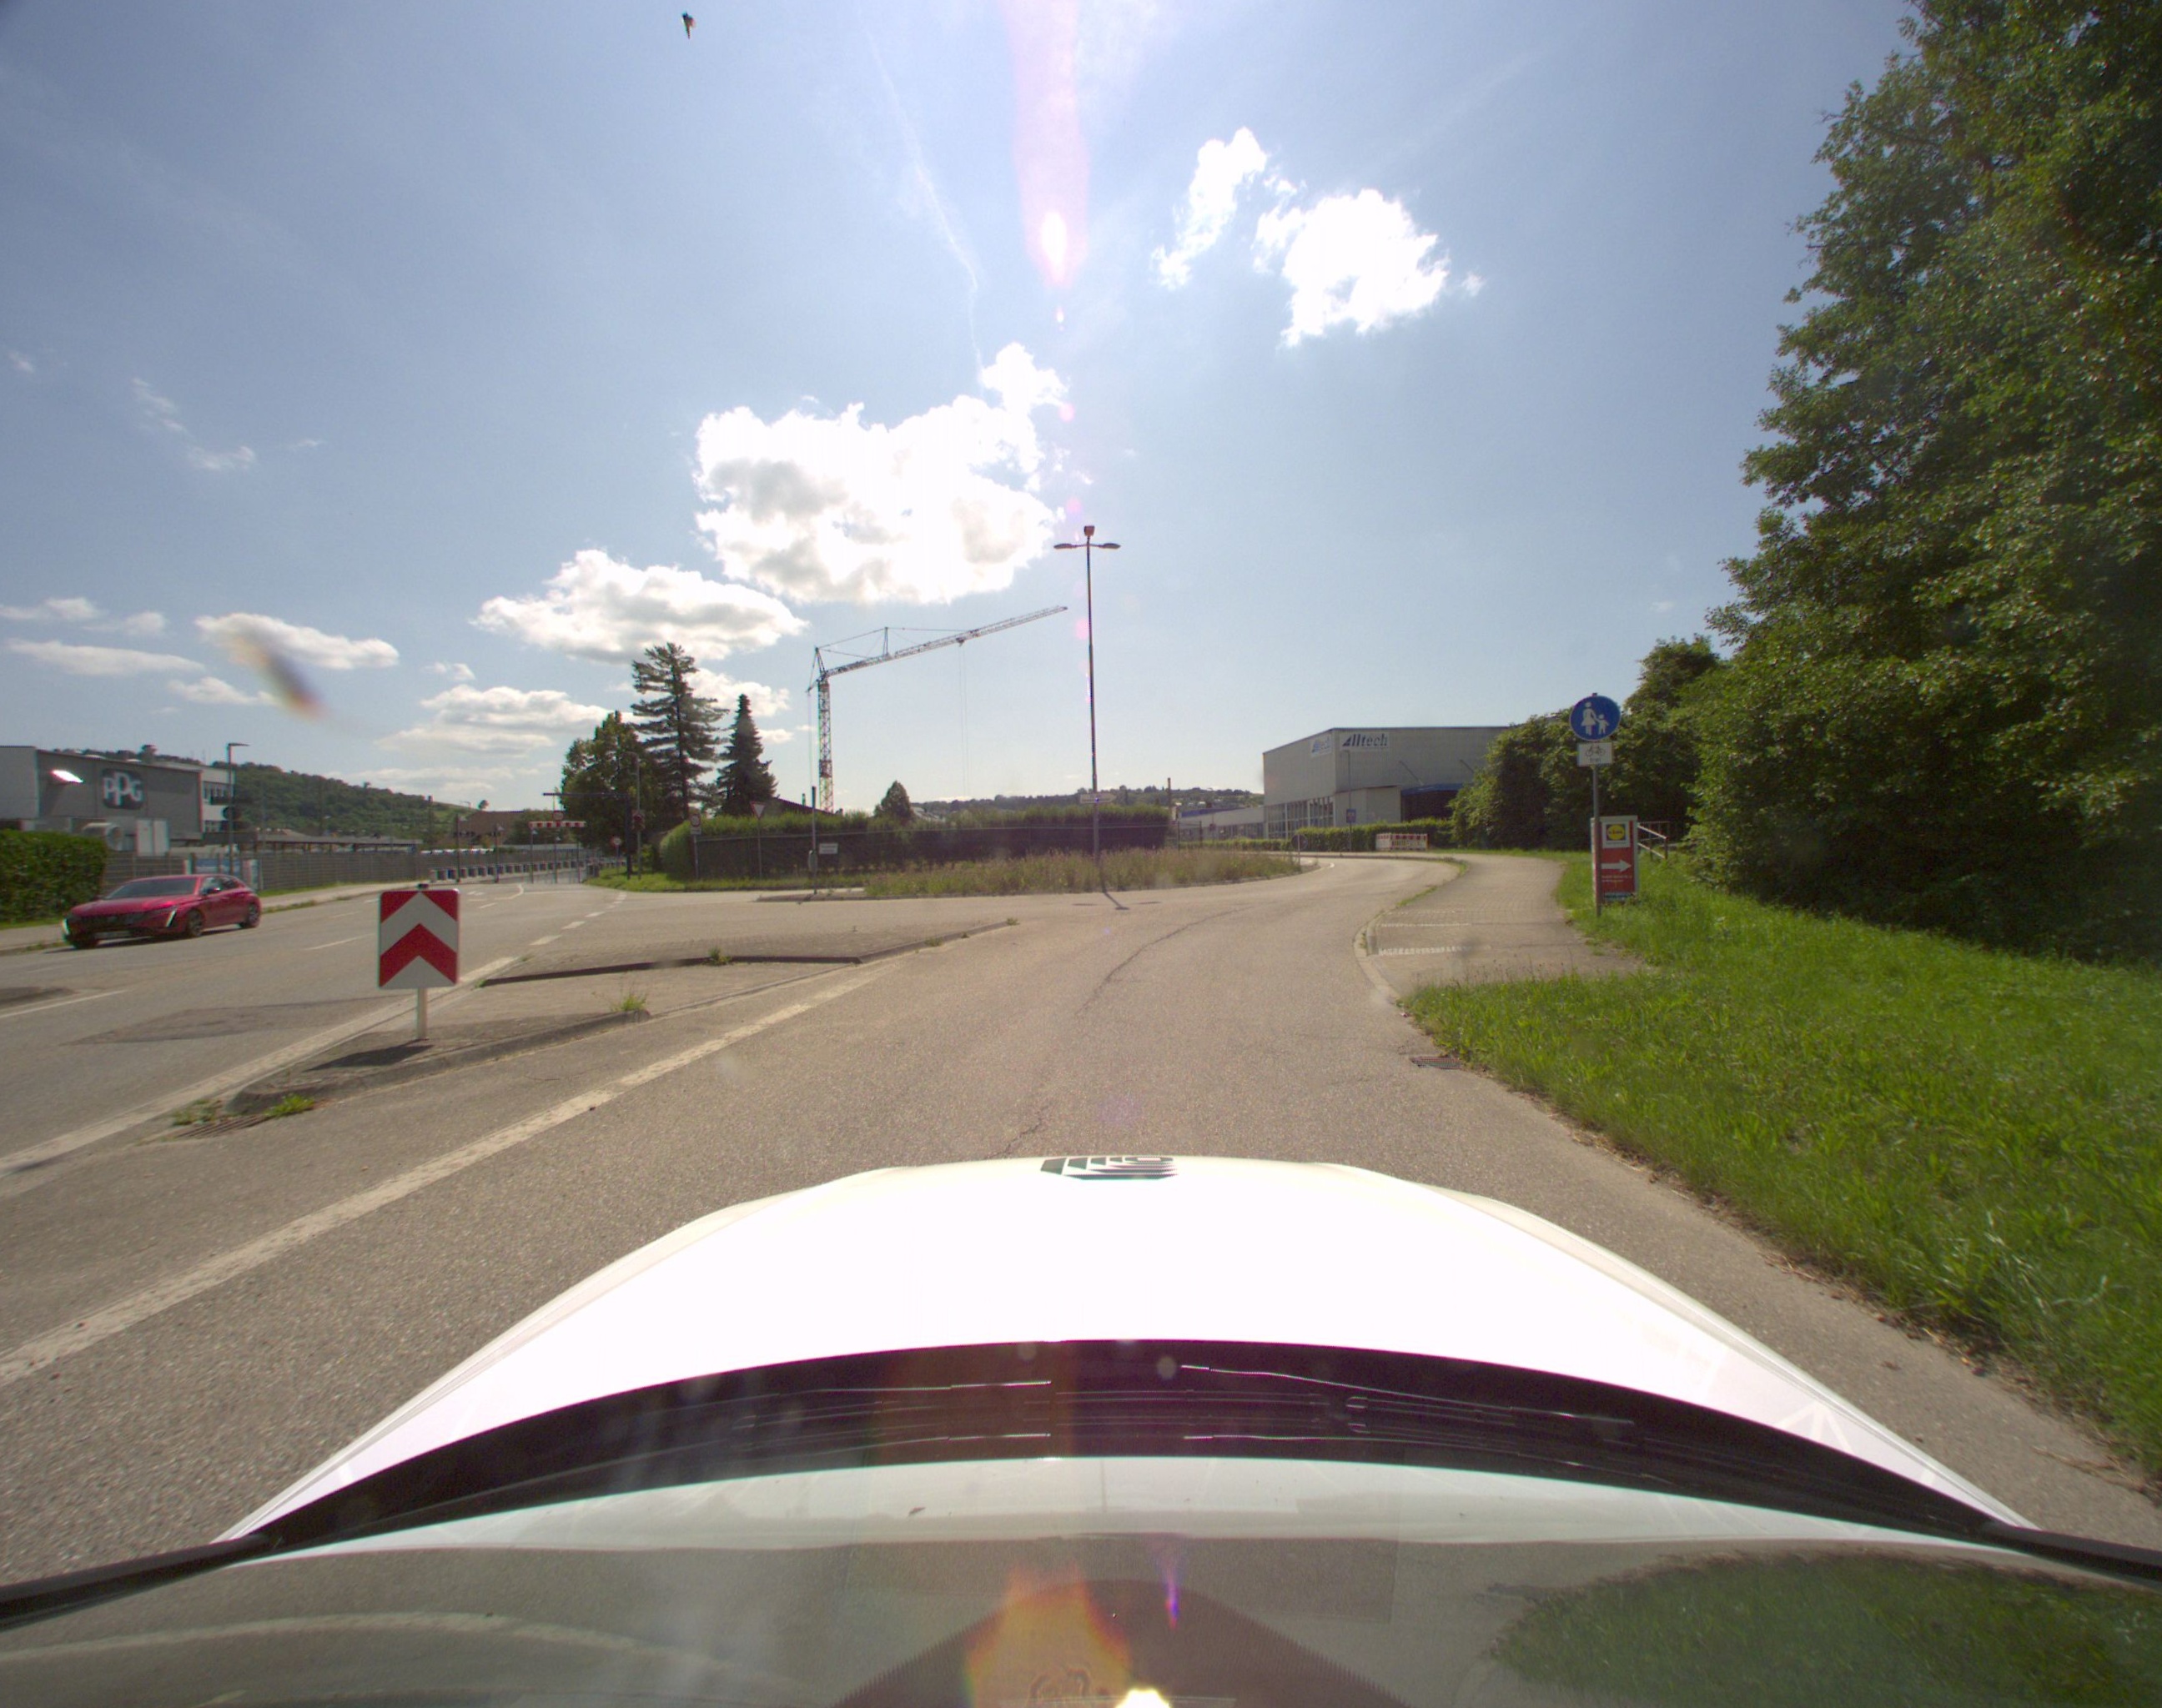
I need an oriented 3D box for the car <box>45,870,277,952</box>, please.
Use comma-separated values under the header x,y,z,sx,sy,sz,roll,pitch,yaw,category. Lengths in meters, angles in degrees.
x,y,z,sx,sy,sz,roll,pitch,yaw,category
-20.850,1.193,18.762,1.889,1.464,4.350,-3,1,-25,car
